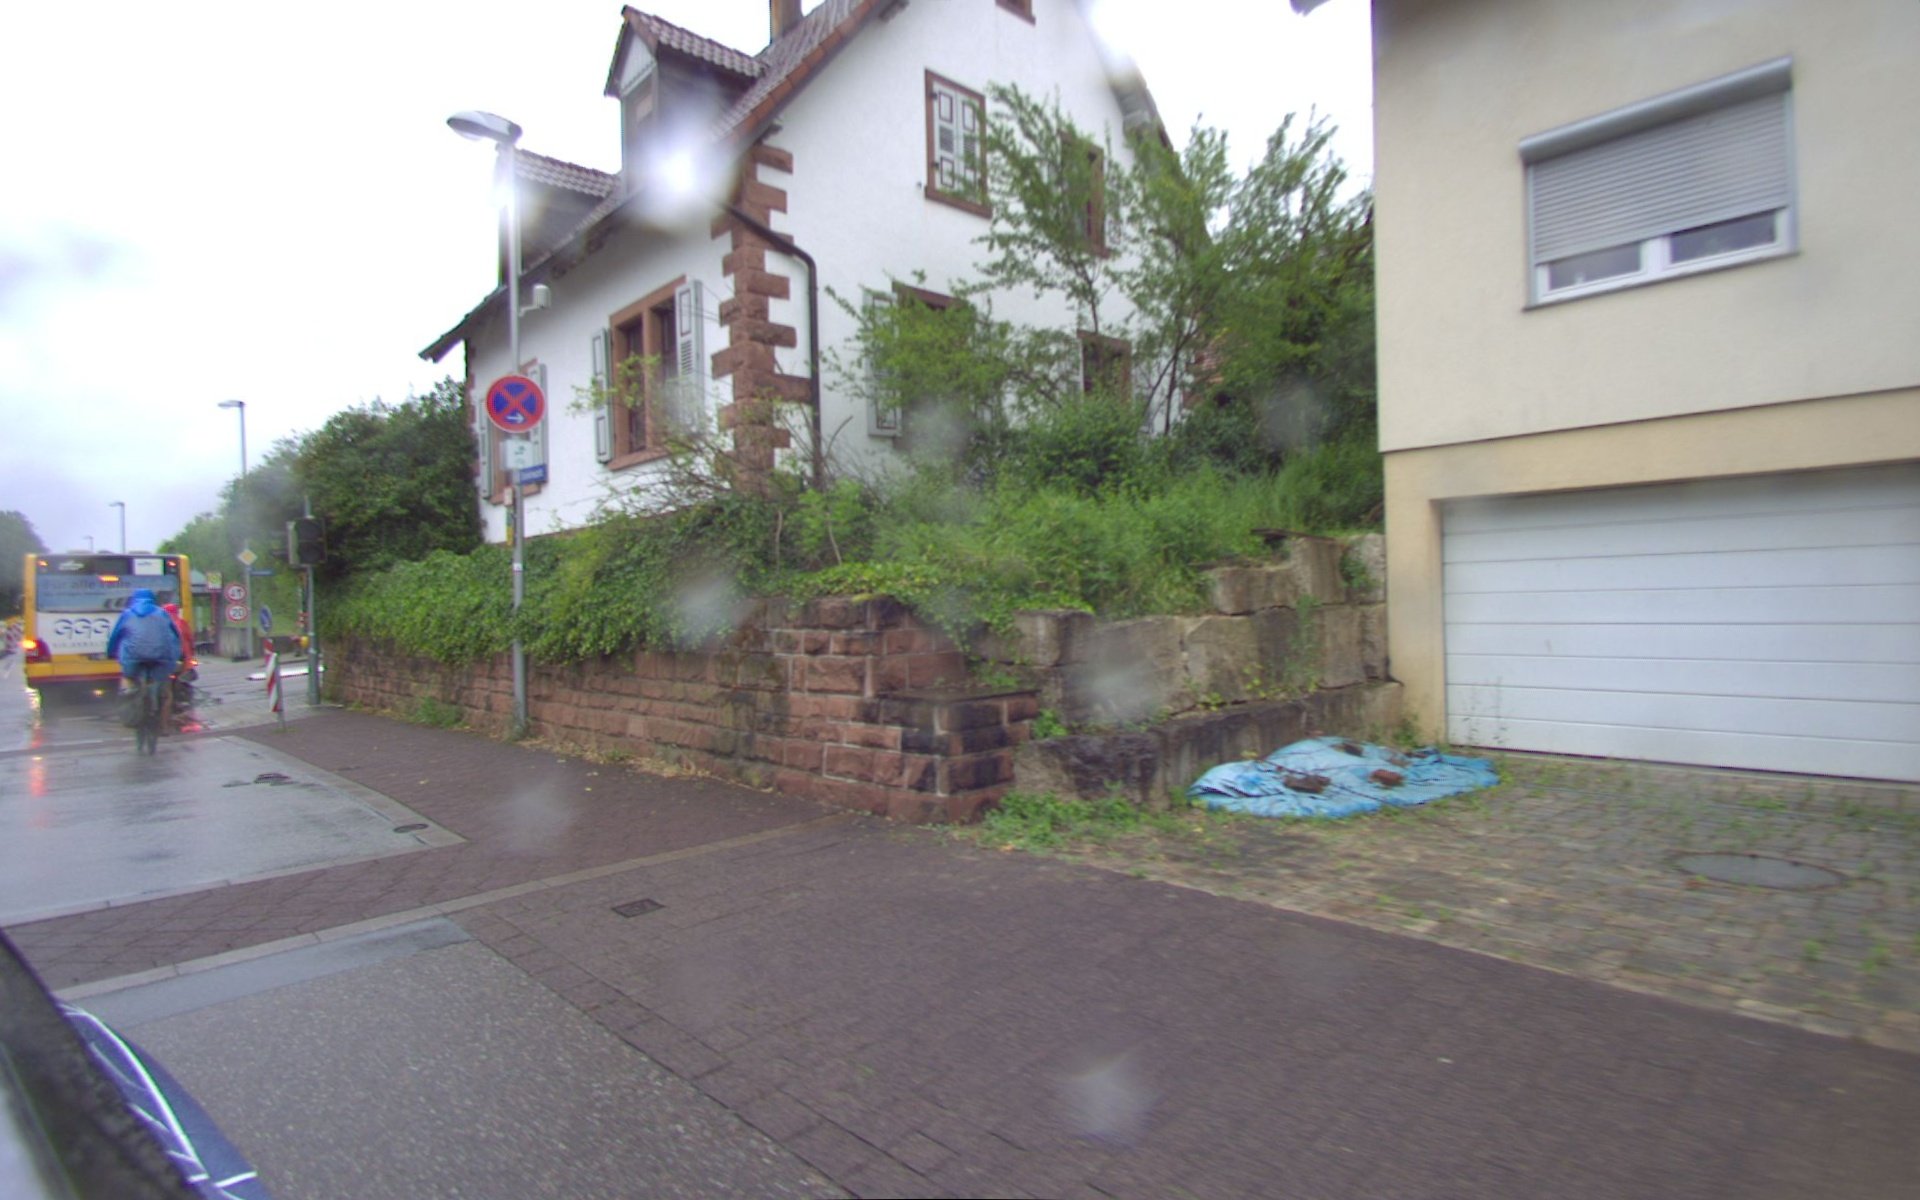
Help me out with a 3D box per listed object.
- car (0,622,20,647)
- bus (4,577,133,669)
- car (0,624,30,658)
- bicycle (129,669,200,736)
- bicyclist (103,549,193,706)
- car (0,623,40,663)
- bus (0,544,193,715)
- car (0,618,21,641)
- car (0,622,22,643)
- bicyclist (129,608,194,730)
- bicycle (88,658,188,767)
[{"bbox_3d":[-65.582,2.374,69.279,1.754,1.623,4.192,-3,1,-43],"label":"car"},{"bbox_3d":[-38.952,0.920,44.680,3.388,3.437,13.898,-2,0,-38],"label":"bus"},{"bbox_3d":[-55.223,2.366,58.714,1.754,1.811,4.193,-3,2,-43],"label":"car"},{"bbox_3d":[-12.173,1.533,15.470,0.653,0.876,1.936,-3,0,-43],"label":"bicycle"},{"bbox_3d":[-9.327,0.309,11.620,0.679,1.726,0.704,-3,-1,-44],"label":"bicyclist"},{"bbox_3d":[-46.861,2.104,50.170,1.754,1.811,4.193,-3,2,-43],"label":"car"},{"bbox_3d":[-19.584,0.572,23.082,2.771,2.961,11.962,-3,1,-39],"label":"bus"},{"bbox_3d":[-72.757,2.262,77.041,1.754,1.623,4.193,-4,2,-43],"label":"car"},{"bbox_3d":[-79.021,2.668,83.919,1.754,1.623,4.193,-3,2,-43],"label":"car"},{"bbox_3d":[-12.207,1.041,15.463,0.649,1.783,0.704,-3,-1,-44],"label":"bicyclist"},{"bbox_3d":[-9.321,1.224,11.436,0.673,1.059,2.341,-2,-1,-43],"label":"bicycle"}]
